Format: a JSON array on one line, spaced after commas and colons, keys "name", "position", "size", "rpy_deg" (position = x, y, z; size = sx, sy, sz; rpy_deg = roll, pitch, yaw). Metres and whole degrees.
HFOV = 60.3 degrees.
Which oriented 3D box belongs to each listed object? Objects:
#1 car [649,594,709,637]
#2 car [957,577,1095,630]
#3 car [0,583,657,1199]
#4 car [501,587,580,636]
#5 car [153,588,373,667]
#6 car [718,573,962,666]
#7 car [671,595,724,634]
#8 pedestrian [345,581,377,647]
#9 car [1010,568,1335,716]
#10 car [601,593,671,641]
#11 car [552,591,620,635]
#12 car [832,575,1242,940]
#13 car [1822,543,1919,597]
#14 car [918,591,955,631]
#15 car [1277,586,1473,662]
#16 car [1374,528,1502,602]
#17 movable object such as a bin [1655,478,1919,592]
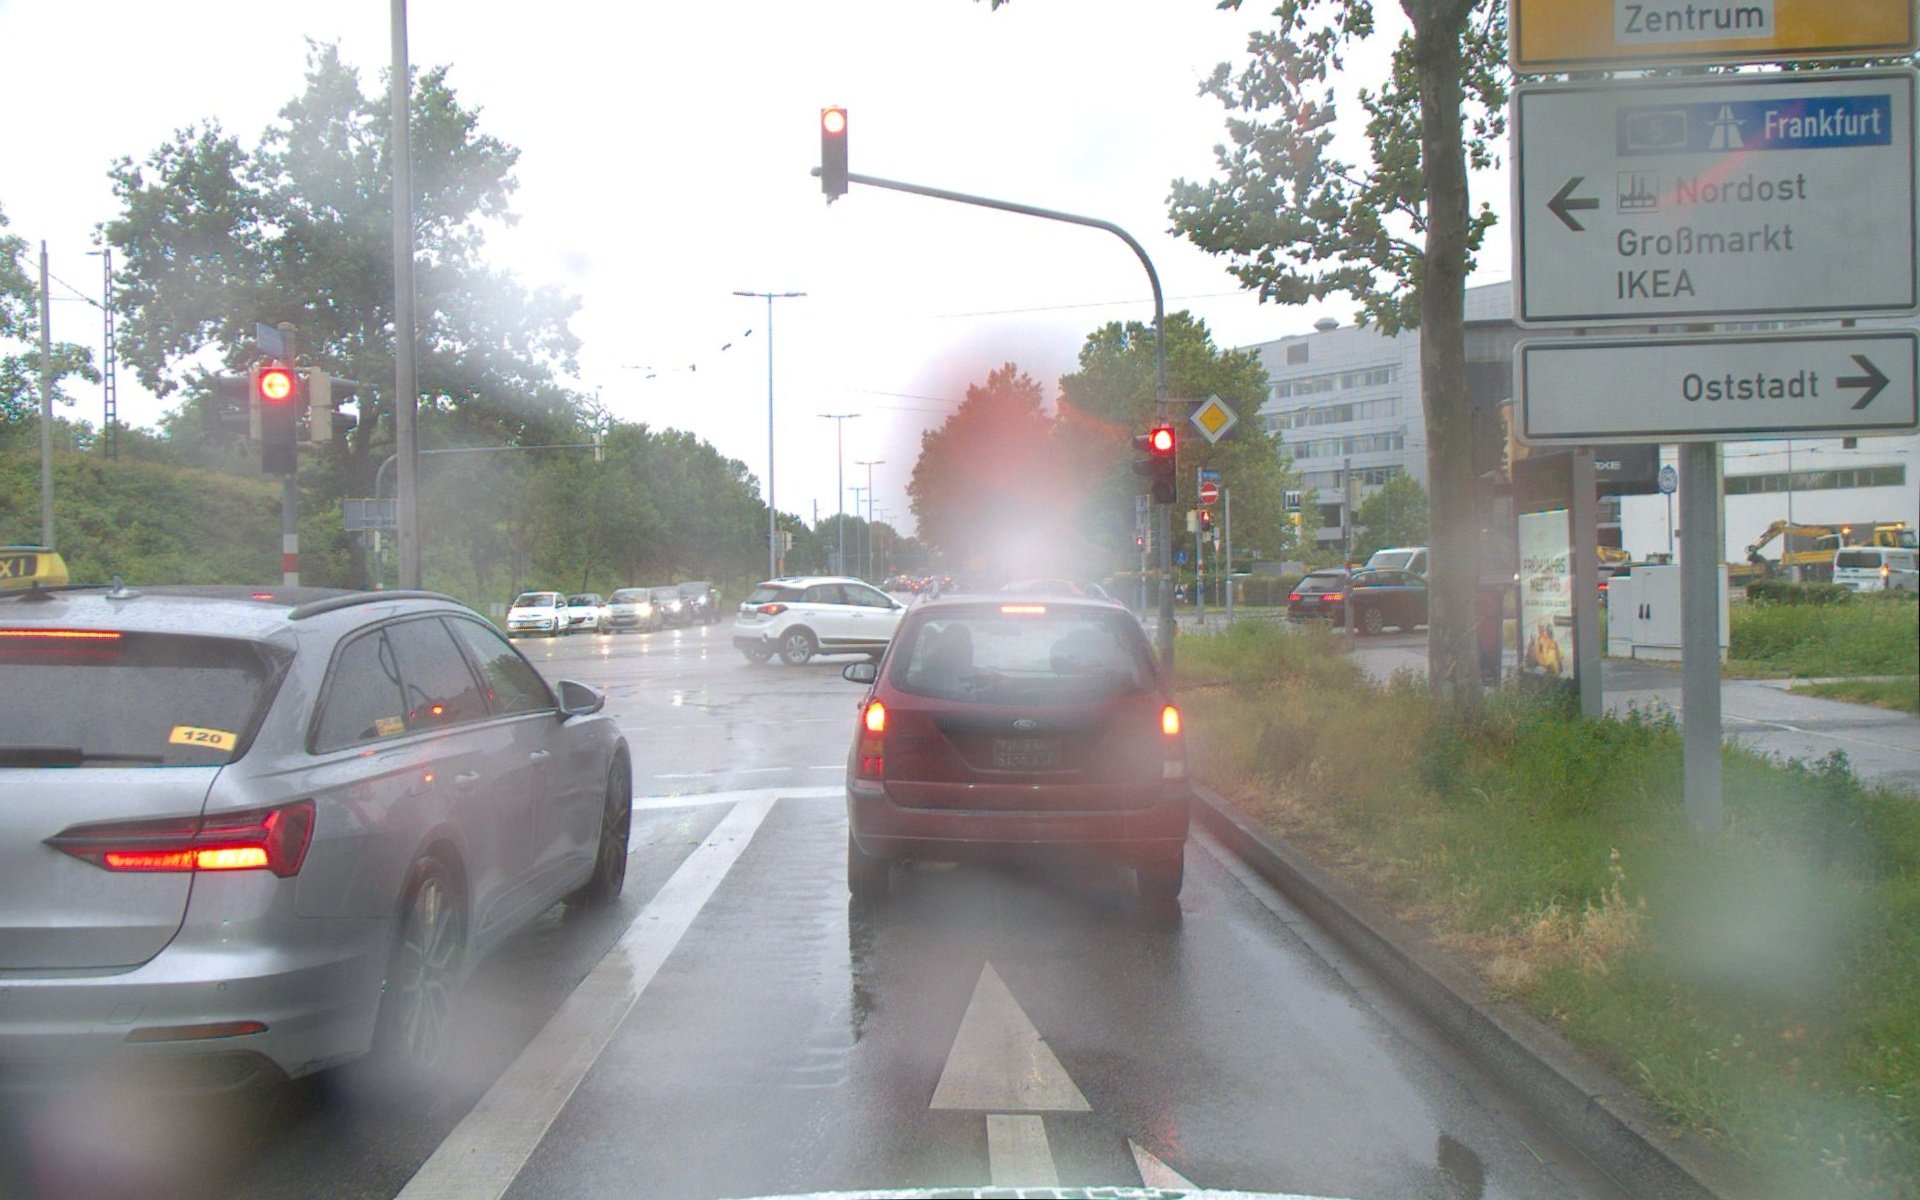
[{"name": "car", "position": [-10.854, 0.577, 64.041], "size": [1.678, 1.556, 3.999], "rpy_deg": [-1, 0, -1]}, {"name": "car", "position": [1.969, 0.082, 48.799], "size": [3.961, 1.454, 1.694], "rpy_deg": [-2, 0, -39]}, {"name": "car", "position": [-2.317, 0.685, 5.982], "size": [1.656, 1.458, 4.573], "rpy_deg": [0, 0, -1]}, {"name": "car", "position": [-14.148, 0.372, 55.916], "size": [1.678, 1.556, 3.999], "rpy_deg": [-1, 0, -1]}, {"name": "car", "position": [-14.733, 0.549, 35.045], "size": [3.962, 1.512, 1.793], "rpy_deg": [-1, 0, -40]}, {"name": "car", "position": [-2.171, 0.315, 30.156], "size": [4.011, 1.547, 1.978], "rpy_deg": [-1, 0, -32]}, {"name": "car", "position": [-11.331, 0.609, 71.523], "size": [1.678, 1.556, 3.999], "rpy_deg": [-1, 0, -1]}, {"name": "pedestrian", "position": [-16.832, 0.393, 46.475], "size": [0.522, 1.817, 0.673], "rpy_deg": [0, -1, 16]}, {"name": "car", "position": [2.854, 0.464, 21.619], "size": [4.349, 1.563, 1.775], "rpy_deg": [-4, 3, -41]}, {"name": "car", "position": [-11.156, 0.555, 57.182], "size": [1.678, 1.556, 3.999], "rpy_deg": [-1, 0, -1]}, {"name": "car", "position": [-14.076, 0.478, 62.456], "size": [1.678, 1.556, 3.999], "rpy_deg": [-1, 0, -1]}, {"name": "car", "position": [0.305, 0.676, 9.361], "size": [1.760, 1.564, 4.386], "rpy_deg": [1, 0, -1]}, {"name": "car", "position": [28.246, -0.915, 50.095], "size": [4.327, 1.564, 1.784], "rpy_deg": [-1, 0, -30]}, {"name": "car", "position": [-1.281, 0.565, 89.960], "size": [1.953, 2.049, 3.999], "rpy_deg": [-1, 0, -1]}, {"name": "car", "position": [9.435, 0.518, 37.533], "size": [4.327, 1.564, 1.784], "rpy_deg": [-1, 0, -30]}, {"name": "car", "position": [16.049, -1.192, 55.419], "size": [4.339, 2.228, 1.779], "rpy_deg": [-4, 2, -36]}, {"name": "movable object such as a bin", "position": [52.513, -3.786, 103.359], "size": [8.168, 6.393, 14.792], "rpy_deg": [1, 0, -34]}]
